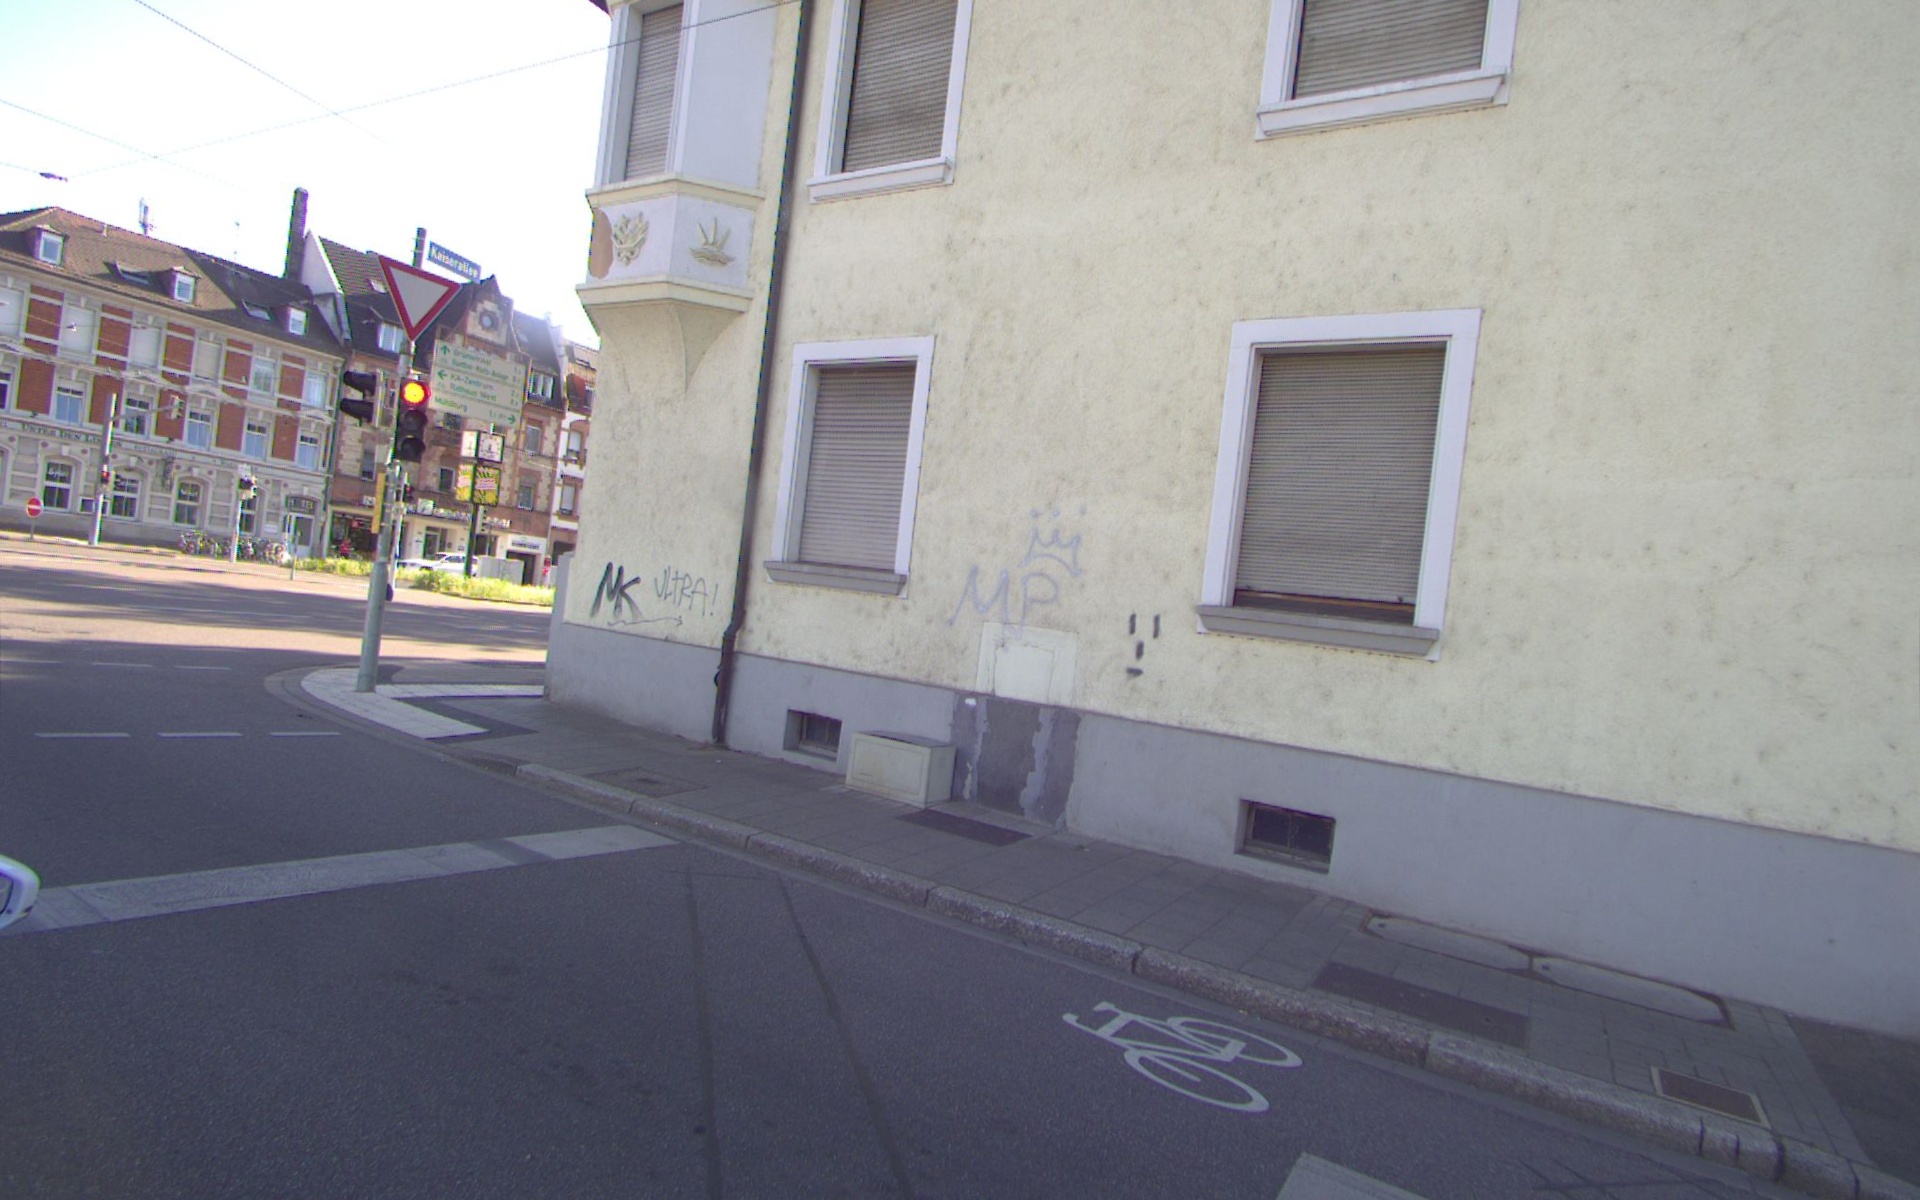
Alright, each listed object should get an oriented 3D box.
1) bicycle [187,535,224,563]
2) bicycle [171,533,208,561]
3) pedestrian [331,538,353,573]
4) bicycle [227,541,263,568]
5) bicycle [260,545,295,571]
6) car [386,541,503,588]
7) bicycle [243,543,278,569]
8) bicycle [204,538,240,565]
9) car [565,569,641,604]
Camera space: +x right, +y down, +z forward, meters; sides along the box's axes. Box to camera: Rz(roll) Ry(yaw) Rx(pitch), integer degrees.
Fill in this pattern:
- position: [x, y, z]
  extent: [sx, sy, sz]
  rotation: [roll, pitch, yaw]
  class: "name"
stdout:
- position: [-34.646, -2.331, 46.192]
  extent: [1.614, 1.064, 0.606]
  rotation: [7, 0, 27]
  class: "bicycle"
- position: [-34.945, -2.394, 45.610]
  extent: [1.614, 1.064, 0.606]
  rotation: [7, 0, 27]
  class: "bicycle"
- position: [-33.192, -2.373, 54.035]
  extent: [0.414, 1.773, 0.709]
  rotation: [7, 0, 33]
  class: "pedestrian"
- position: [-33.649, -2.154, 47.338]
  extent: [1.614, 1.064, 0.606]
  rotation: [7, 0, 27]
  class: "bicycle"
- position: [-32.981, -2.016, 48.586]
  extent: [1.614, 1.064, 0.606]
  rotation: [7, 0, 27]
  class: "bicycle"
- position: [-26.038, -1.772, 50.962]
  extent: [1.968, 1.680, 4.853]
  rotation: [7, -1, 34]
  class: "car"
- position: [-33.355, -2.091, 47.949]
  extent: [1.614, 1.064, 0.606]
  rotation: [7, 0, 27]
  class: "bicycle"
- position: [-34.315, -2.265, 46.768]
  extent: [1.614, 1.064, 0.606]
  rotation: [7, 0, 27]
  class: "bicycle"
- position: [-23.123, -0.864, 65.307]
  extent: [1.966, 1.674, 4.378]
  rotation: [7, -1, 29]
  class: "car"
